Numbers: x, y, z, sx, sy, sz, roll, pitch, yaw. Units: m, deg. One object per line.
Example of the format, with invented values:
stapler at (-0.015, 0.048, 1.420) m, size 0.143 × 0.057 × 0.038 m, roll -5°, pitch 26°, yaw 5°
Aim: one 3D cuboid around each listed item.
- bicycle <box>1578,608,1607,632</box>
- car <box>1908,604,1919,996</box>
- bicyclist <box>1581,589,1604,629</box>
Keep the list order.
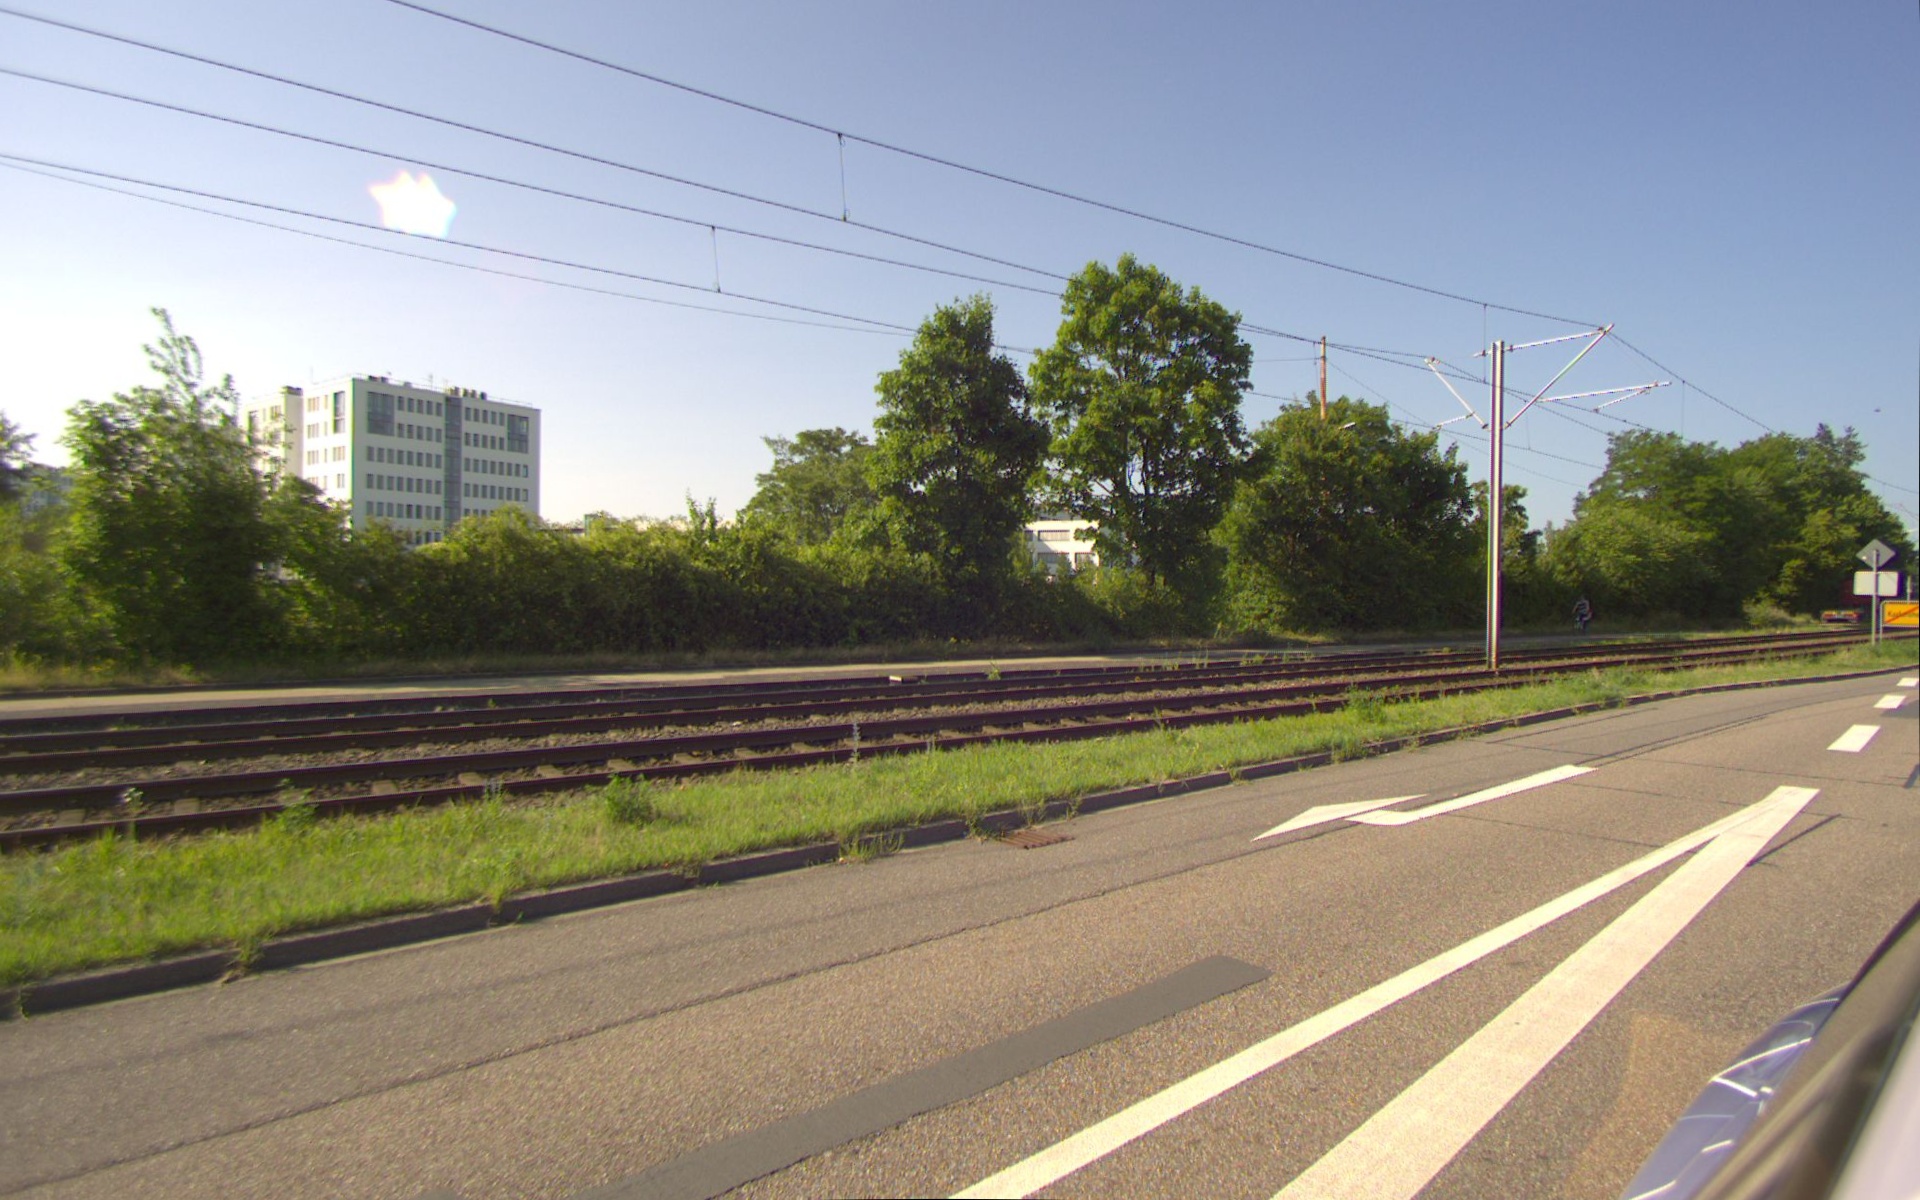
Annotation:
bicycle at (29.133, 0.929, 46.604) m, size 1.840 × 1.060 × 0.547 m, roll 0°, pitch 1°, yaw -39°
car at (5.752, 0.732, 4.488) m, size 4.383 × 1.442 × 1.819 m, roll 0°, pitch 0°, yaw -41°
bicyclist at (29.153, 0.394, 46.626) m, size 0.704 × 1.830 × 0.708 m, roll 0°, pitch 0°, yaw -38°
